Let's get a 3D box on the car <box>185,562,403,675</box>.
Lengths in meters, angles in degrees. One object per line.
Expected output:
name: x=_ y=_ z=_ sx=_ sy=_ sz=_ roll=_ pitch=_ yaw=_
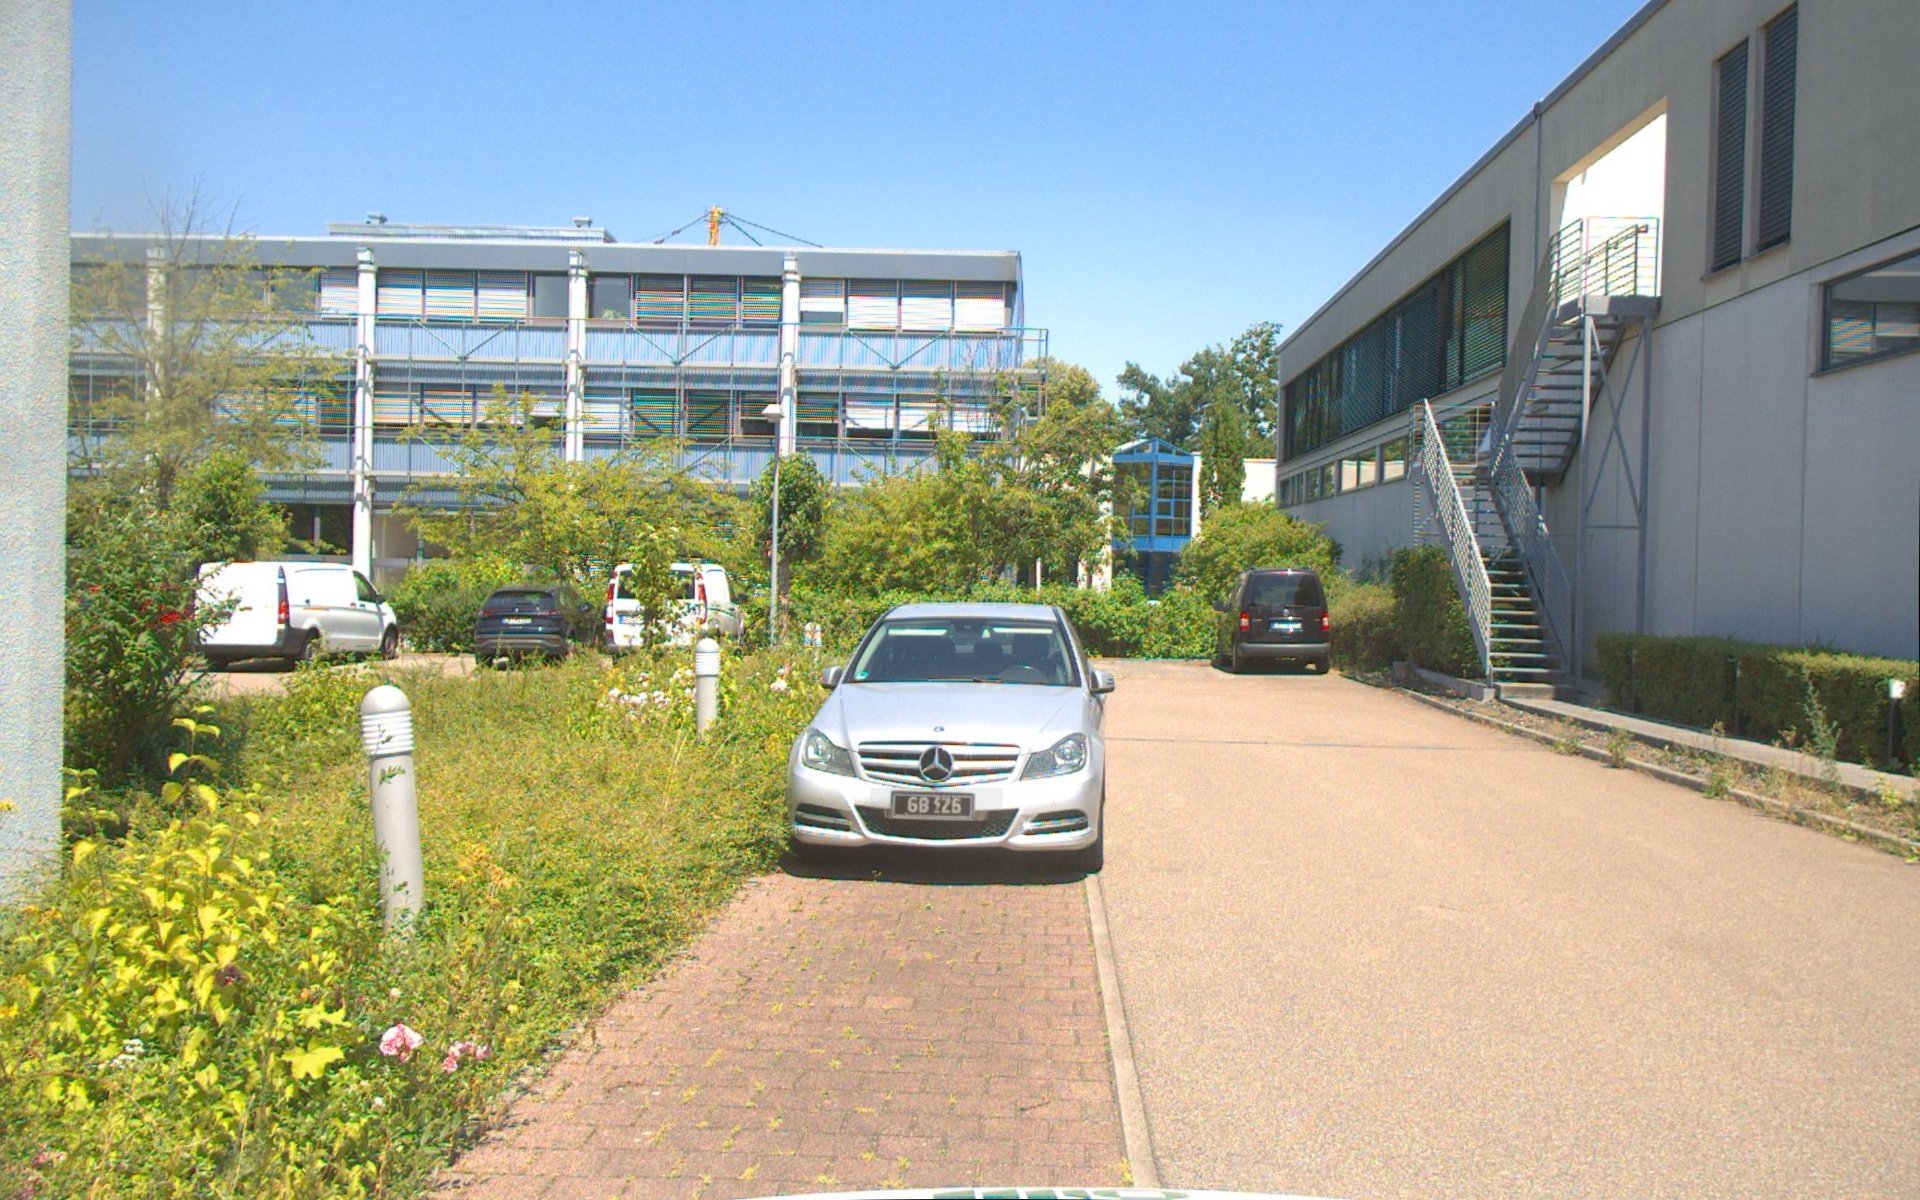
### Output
car: x=-12.210 y=0.257 z=30.707 sx=1.842 sy=1.924 sz=4.806 roll=0 pitch=1 yaw=4

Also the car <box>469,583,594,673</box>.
car: x=-7.950 y=0.459 z=30.985 sx=1.721 sy=1.502 sz=3.995 roll=0 pitch=1 yaw=-7

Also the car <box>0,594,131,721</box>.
car: x=-12.521 y=0.698 z=20.799 sx=1.818 sy=1.498 sz=4.485 roll=0 pitch=1 yaw=2

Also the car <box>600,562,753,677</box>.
car: x=-5.107 y=0.273 z=30.433 sx=1.873 sy=1.938 sz=4.809 roll=0 pitch=1 yaw=1

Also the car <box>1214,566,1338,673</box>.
car: x=5.833 y=0.304 z=30.928 sx=1.707 sy=1.869 sz=4.001 roll=0 pitch=1 yaw=2

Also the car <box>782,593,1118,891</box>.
car: x=0.130 y=0.699 z=10.381 sx=1.692 sy=1.482 sz=4.150 roll=0 pitch=0 yaw=5
